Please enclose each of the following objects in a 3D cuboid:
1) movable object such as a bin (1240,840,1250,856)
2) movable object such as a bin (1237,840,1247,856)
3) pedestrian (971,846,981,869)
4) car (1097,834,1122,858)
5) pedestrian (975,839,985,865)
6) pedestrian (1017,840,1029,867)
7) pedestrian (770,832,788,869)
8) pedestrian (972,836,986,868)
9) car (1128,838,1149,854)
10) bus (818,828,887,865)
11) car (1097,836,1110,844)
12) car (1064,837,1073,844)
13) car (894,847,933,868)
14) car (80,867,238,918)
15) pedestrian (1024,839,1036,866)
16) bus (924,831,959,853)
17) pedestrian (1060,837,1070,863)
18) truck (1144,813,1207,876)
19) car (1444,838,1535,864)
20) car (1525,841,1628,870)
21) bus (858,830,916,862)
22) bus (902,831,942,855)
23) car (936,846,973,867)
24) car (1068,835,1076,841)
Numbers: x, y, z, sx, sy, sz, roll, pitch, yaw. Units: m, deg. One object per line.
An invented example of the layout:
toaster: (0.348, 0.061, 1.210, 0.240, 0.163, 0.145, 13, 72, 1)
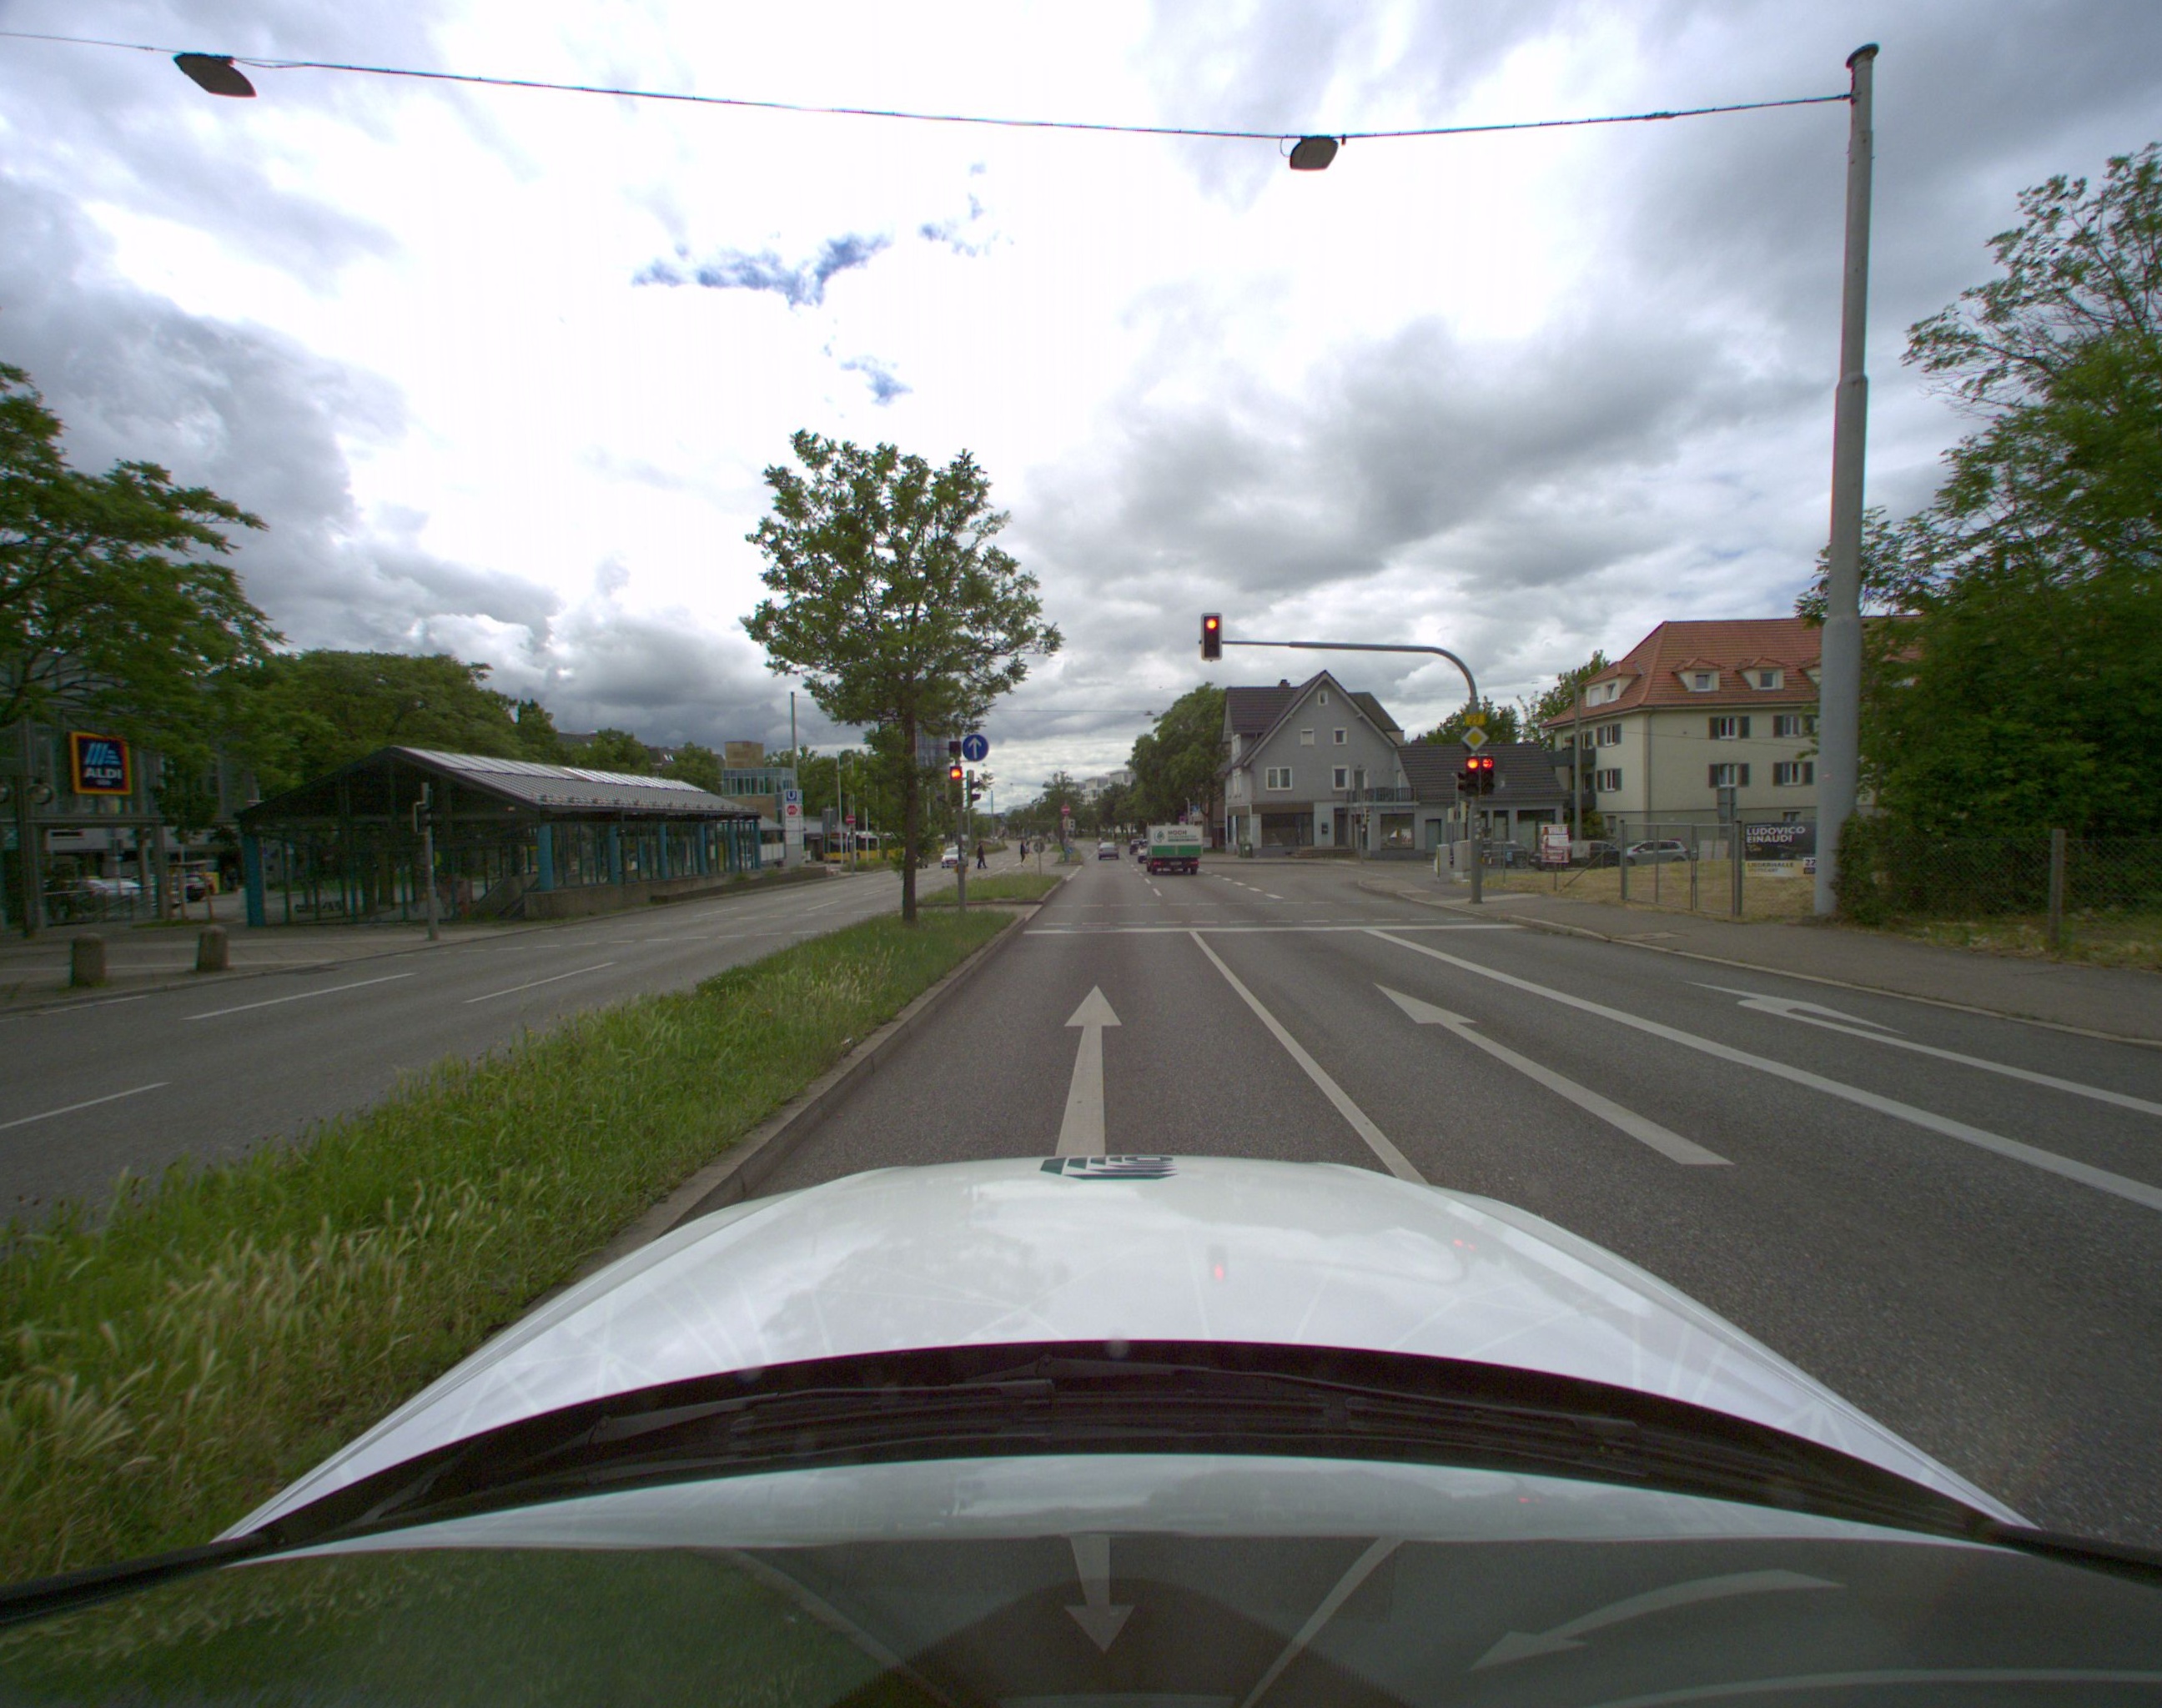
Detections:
movable object such as a bin: (10.717, -0.394, 53.260, 0.602, 1.059, 0.590, 0, 1, 4)
movable object such as a bin: (10.679, -0.392, 54.014, 0.613, 1.043, 0.590, 0, 1, 4)
pedestrian: (-6.873, 0.248, 53.327, 0.542, 1.496, 0.486, -2, 0, -5)
car: (2.306, -0.653, 65.692, 1.986, 1.830, 4.002, 0, 1, 2)
pedestrian: (-6.687, -0.127, 54.007, 0.611, 1.716, 0.545, -2, 0, -5)
pedestrian: (-3.810, -0.048, 53.366, 0.744, 1.716, 0.582, -2, 0, -5)
pedestrian: (-16.600, -0.210, 44.713, 0.679, 2.013, 0.645, -2, 0, -2)
pedestrian: (-6.554, -0.109, 52.440, 0.828, 2.013, 0.545, -2, 0, -5)
car: (5.711, -0.832, 81.250, 1.986, 1.552, 4.002, 0, 1, 2)
bus: (-23.099, -0.781, 82.992, 2.817, 3.430, 10.753, -2, 1, 6)
car: (4.643, -2.878, 166.402, 1.991, 1.552, 3.991, -2, 1, -7)
car: (-2.893, -3.012, 186.301, 1.988, 1.519, 3.998, -2, 1, -1)
car: (-12.625, 0.233, 61.565, 1.986, 1.486, 4.001, -2, 1, 1)
car: (-37.812, 1.549, 33.496, 3.978, 1.837, 1.998, -2, 1, -3)
pedestrian: (-3.293, -0.077, 52.569, 0.652, 1.716, 0.451, -2, 0, -5)
bus: (-23.121, -2.022, 135.543, 2.817, 3.430, 10.753, -2, 1, 6)
pedestrian: (-1.110, -0.294, 55.216, 0.582, 1.716, 0.545, -2, 0, -5)
truck: (4.218, -0.508, 37.510, 2.461, 2.611, 6.553, 0, 2, 3)
car: (22.080, -0.147, 44.129, 4.074, 1.371, 1.800, 0, 1, 1)
car: (24.759, 0.056, 40.815, 4.074, 1.371, 1.800, 0, 1, 1)
bus: (-21.978, -0.942, 93.076, 2.817, 3.430, 10.753, -2, 1, 6)
bus: (-24.297, -1.745, 124.830, 2.817, 3.430, 10.753, -2, 1, 6)
car: (-9.435, 0.148, 61.109, 1.986, 1.486, 4.001, -2, 1, 1)
car: (-2.298, -4.027, 208.608, 1.988, 1.519, 3.998, -2, 1, -1)
